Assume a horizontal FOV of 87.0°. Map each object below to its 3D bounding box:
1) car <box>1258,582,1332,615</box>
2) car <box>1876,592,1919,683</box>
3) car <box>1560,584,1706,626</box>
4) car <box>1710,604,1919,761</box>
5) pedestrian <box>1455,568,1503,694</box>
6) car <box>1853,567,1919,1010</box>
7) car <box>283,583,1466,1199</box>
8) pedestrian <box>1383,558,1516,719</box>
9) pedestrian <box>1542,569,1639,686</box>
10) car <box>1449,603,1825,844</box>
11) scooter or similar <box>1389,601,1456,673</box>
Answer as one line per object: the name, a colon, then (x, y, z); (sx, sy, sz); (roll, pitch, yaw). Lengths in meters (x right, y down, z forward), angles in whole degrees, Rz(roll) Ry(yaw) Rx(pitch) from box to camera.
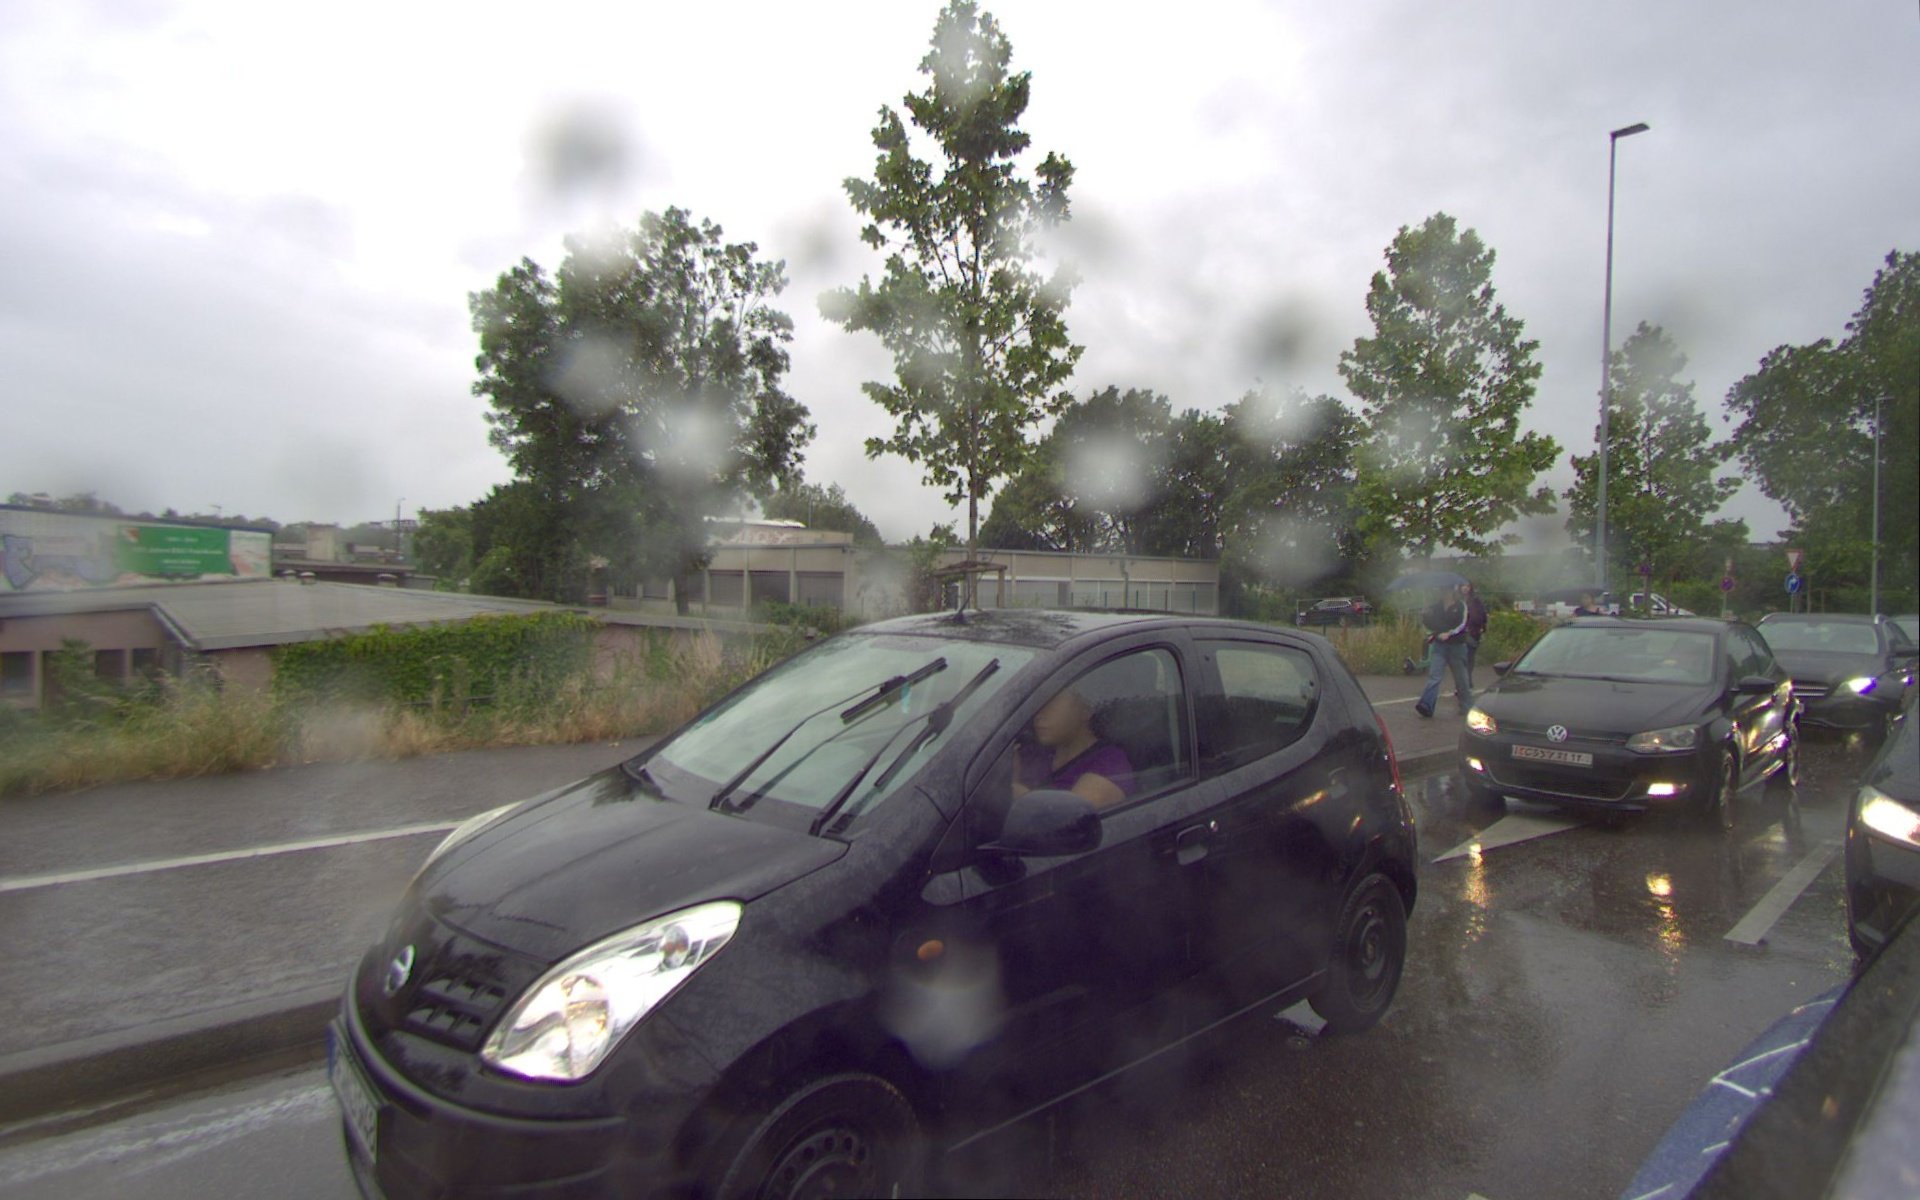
car: (20.991, -0.106, 63.477); (1.964, 2.039, 3.996); (0, 0, -38)
car: (17.685, 0.626, 17.967); (4.052, 1.488, 1.702); (-1, 1, -42)
car: (28.084, 0.177, 42.346); (1.966, 1.670, 4.752); (-1, 1, -42)
car: (10.792, 0.874, 12.496); (3.747, 1.594, 1.697); (-1, 0, -41)
pedestrian: (7.138, 0.415, 13.912); (0.433, 1.682, 0.400); (0, 3, -42)
car: (5.446, 0.665, 4.499); (4.091, 1.607, 1.688); (-1, 0, -41)
car: (0.066, 0.705, 3.273); (3.561, 1.447, 1.631); (0, 0, -42)
pedestrian: (5.769, 0.405, 11.937); (0.953, 1.777, 1.081); (0, 3, -42)
pedestrian: (9.891, 0.404, 15.881); (0.876, 1.729, 1.024); (0, 3, -41)
car: (5.406, 0.755, 7.923); (3.561, 1.447, 1.631); (0, 0, -42)
scooter or similar: (7.892, 0.610, 17.248); (1.747, 1.144, 0.380); (-1, 2, -43)
